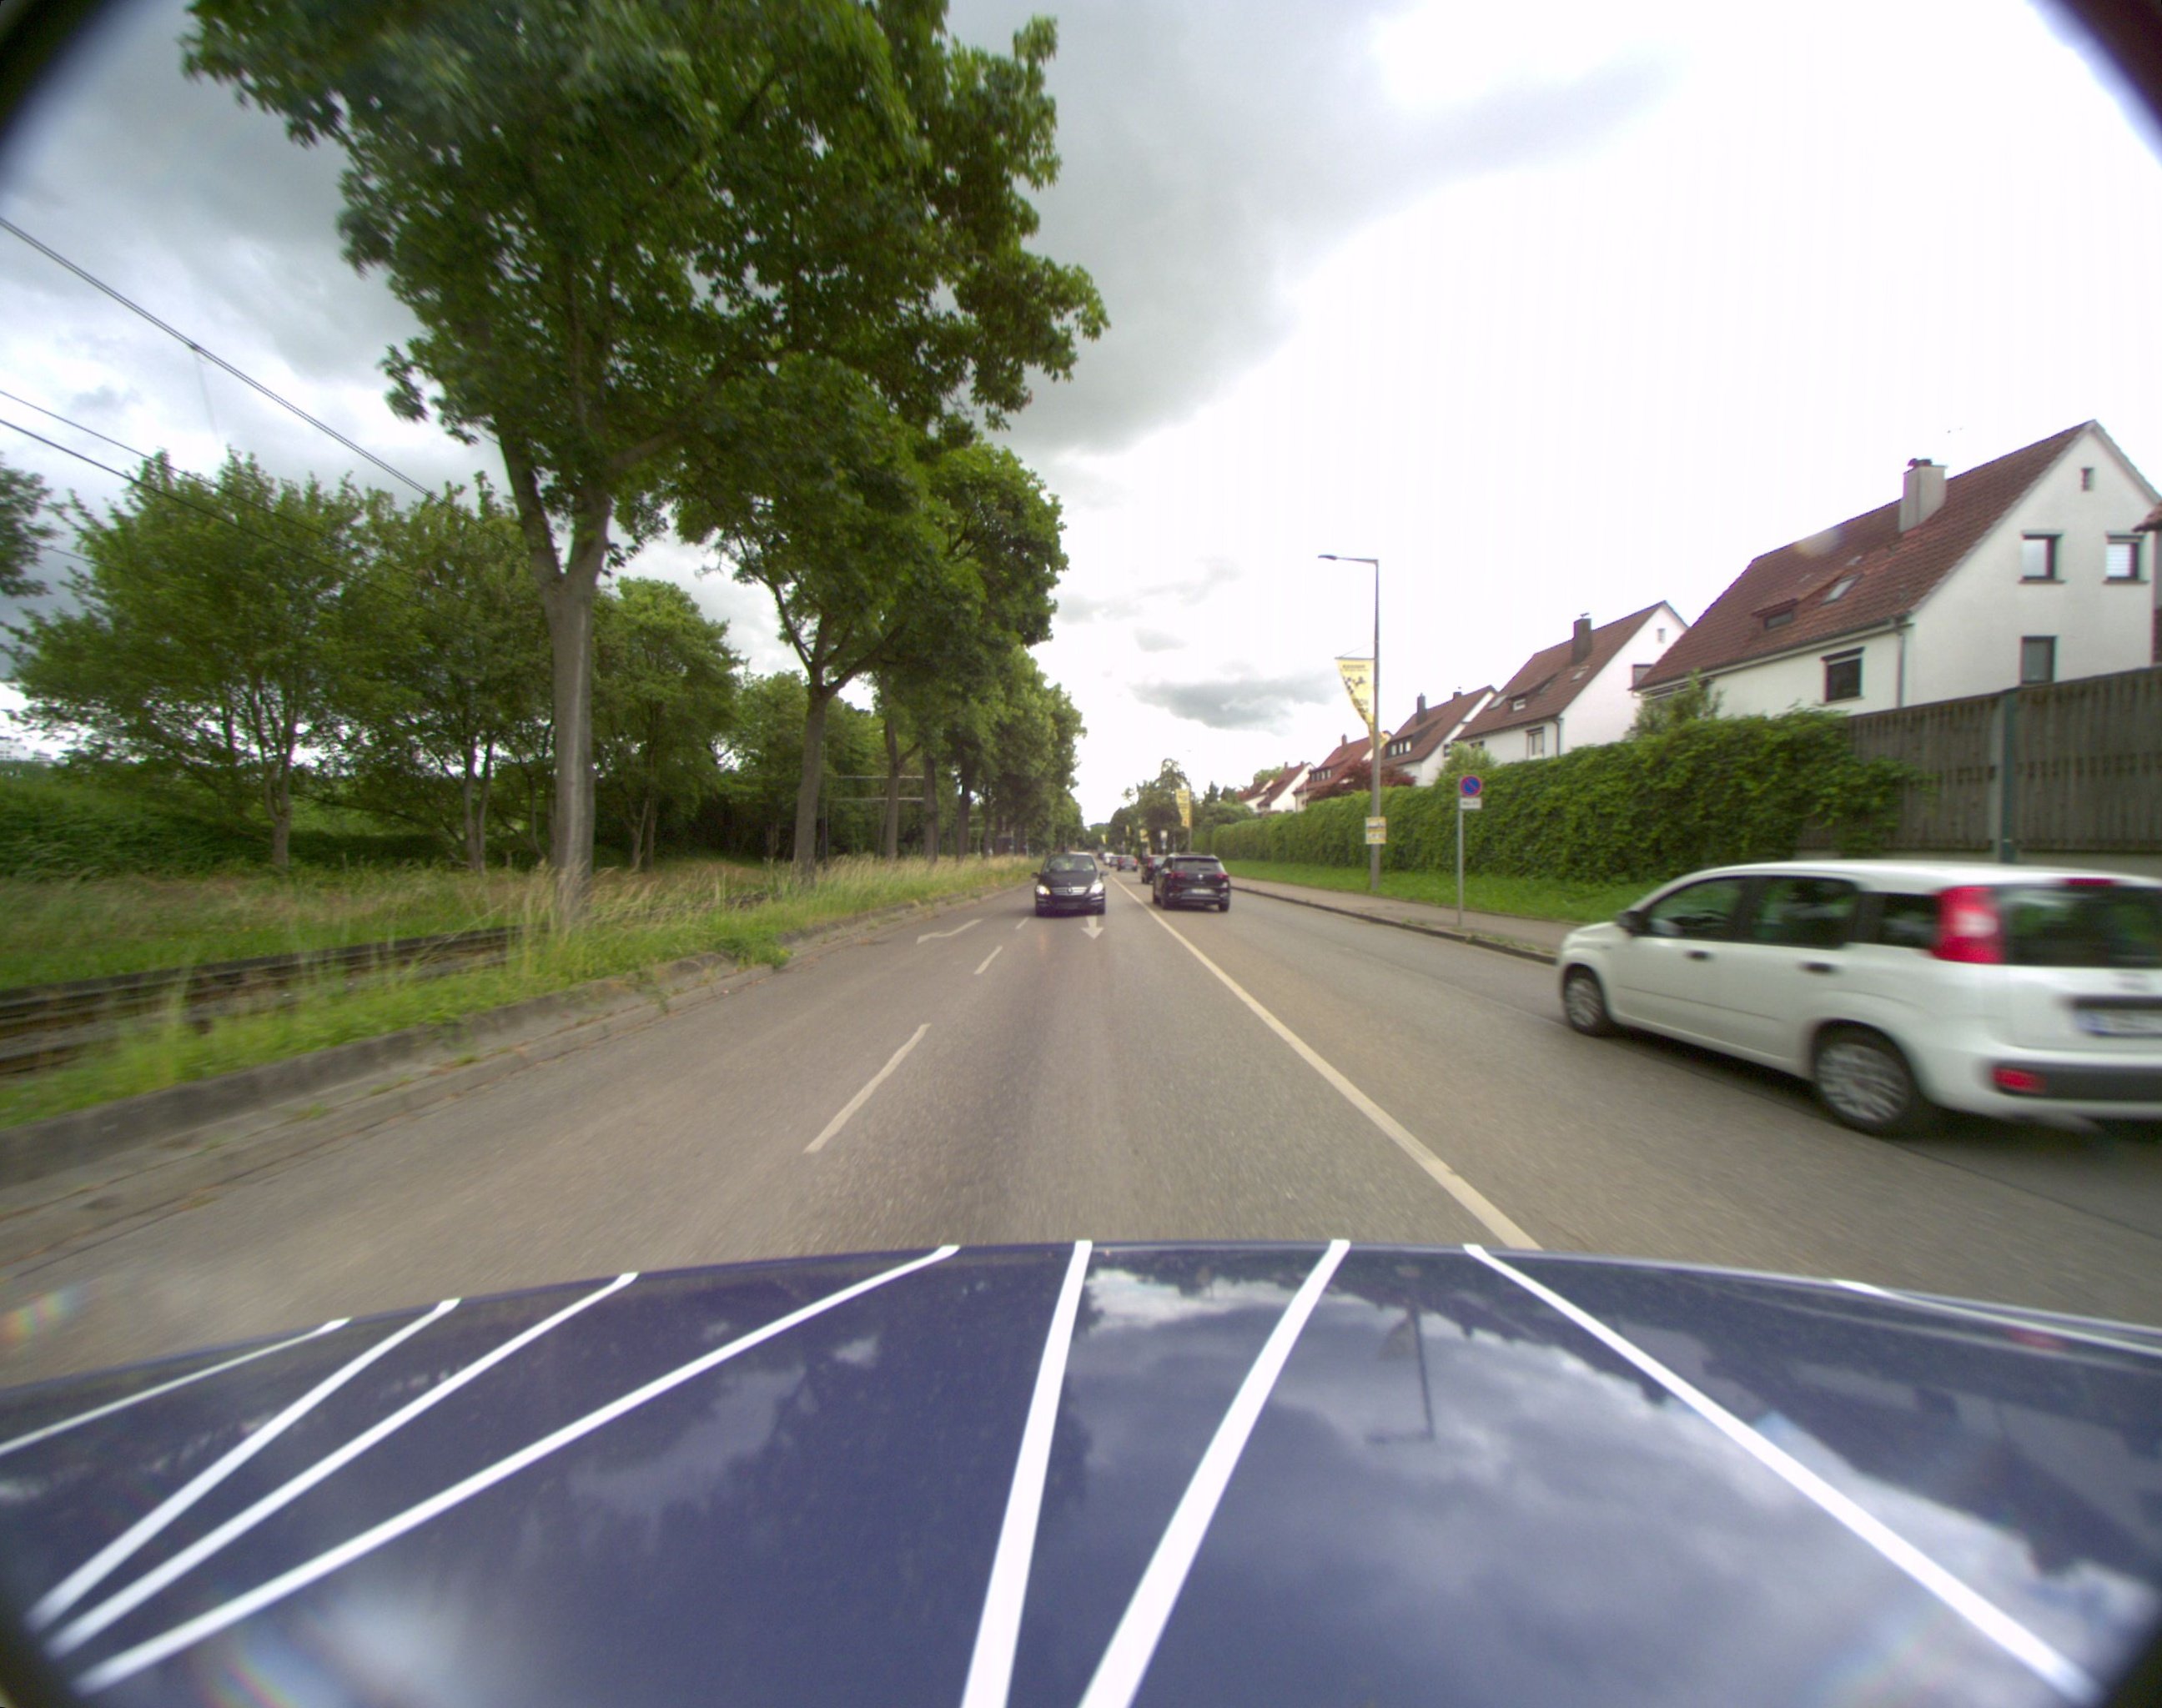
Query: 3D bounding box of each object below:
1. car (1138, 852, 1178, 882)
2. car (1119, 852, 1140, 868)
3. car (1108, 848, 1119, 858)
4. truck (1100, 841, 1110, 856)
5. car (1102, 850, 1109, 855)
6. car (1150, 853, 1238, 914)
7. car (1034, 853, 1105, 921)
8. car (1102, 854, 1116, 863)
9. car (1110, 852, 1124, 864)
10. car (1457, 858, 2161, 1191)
[{"bbox_3d":[4.017,0.667,40.220,1.647,1.472,4.106,1,0,-1],"label":"car"},{"bbox_3d":[4.561,0.528,71.716,1.732,1.456,4.153,1,0,0],"label":"car"},{"bbox_3d":[6.118,-0.220,144.672,1.911,1.921,4.910,2,1,0],"label":"car"},{"bbox_3d":[7.091,-1.666,225.025,2.556,4.020,10.618,1,1,0],"label":"truck"},{"bbox_3d":[6.348,-0.341,197.646,1.737,1.367,4.239,0,0,0],"label":"car"},{"bbox_3d":[3.098,0.750,21.677,1.817,1.515,4.176,1,0,-1],"label":"car"},{"bbox_3d":[-0.279,0.790,20.626,1.683,1.565,4.482,-2,0,0],"label":"car"},{"bbox_3d":[4.238,0.719,116.595,1.891,1.375,4.490,1,0,-1],"label":"car"},{"bbox_3d":[4.637,0.537,97.375,1.756,1.510,4.000,0,0,2],"label":"car"},{"bbox_3d":[5.079,0.835,5.960,1.817,1.515,4.699,1,0,-1],"label":"car"}]
